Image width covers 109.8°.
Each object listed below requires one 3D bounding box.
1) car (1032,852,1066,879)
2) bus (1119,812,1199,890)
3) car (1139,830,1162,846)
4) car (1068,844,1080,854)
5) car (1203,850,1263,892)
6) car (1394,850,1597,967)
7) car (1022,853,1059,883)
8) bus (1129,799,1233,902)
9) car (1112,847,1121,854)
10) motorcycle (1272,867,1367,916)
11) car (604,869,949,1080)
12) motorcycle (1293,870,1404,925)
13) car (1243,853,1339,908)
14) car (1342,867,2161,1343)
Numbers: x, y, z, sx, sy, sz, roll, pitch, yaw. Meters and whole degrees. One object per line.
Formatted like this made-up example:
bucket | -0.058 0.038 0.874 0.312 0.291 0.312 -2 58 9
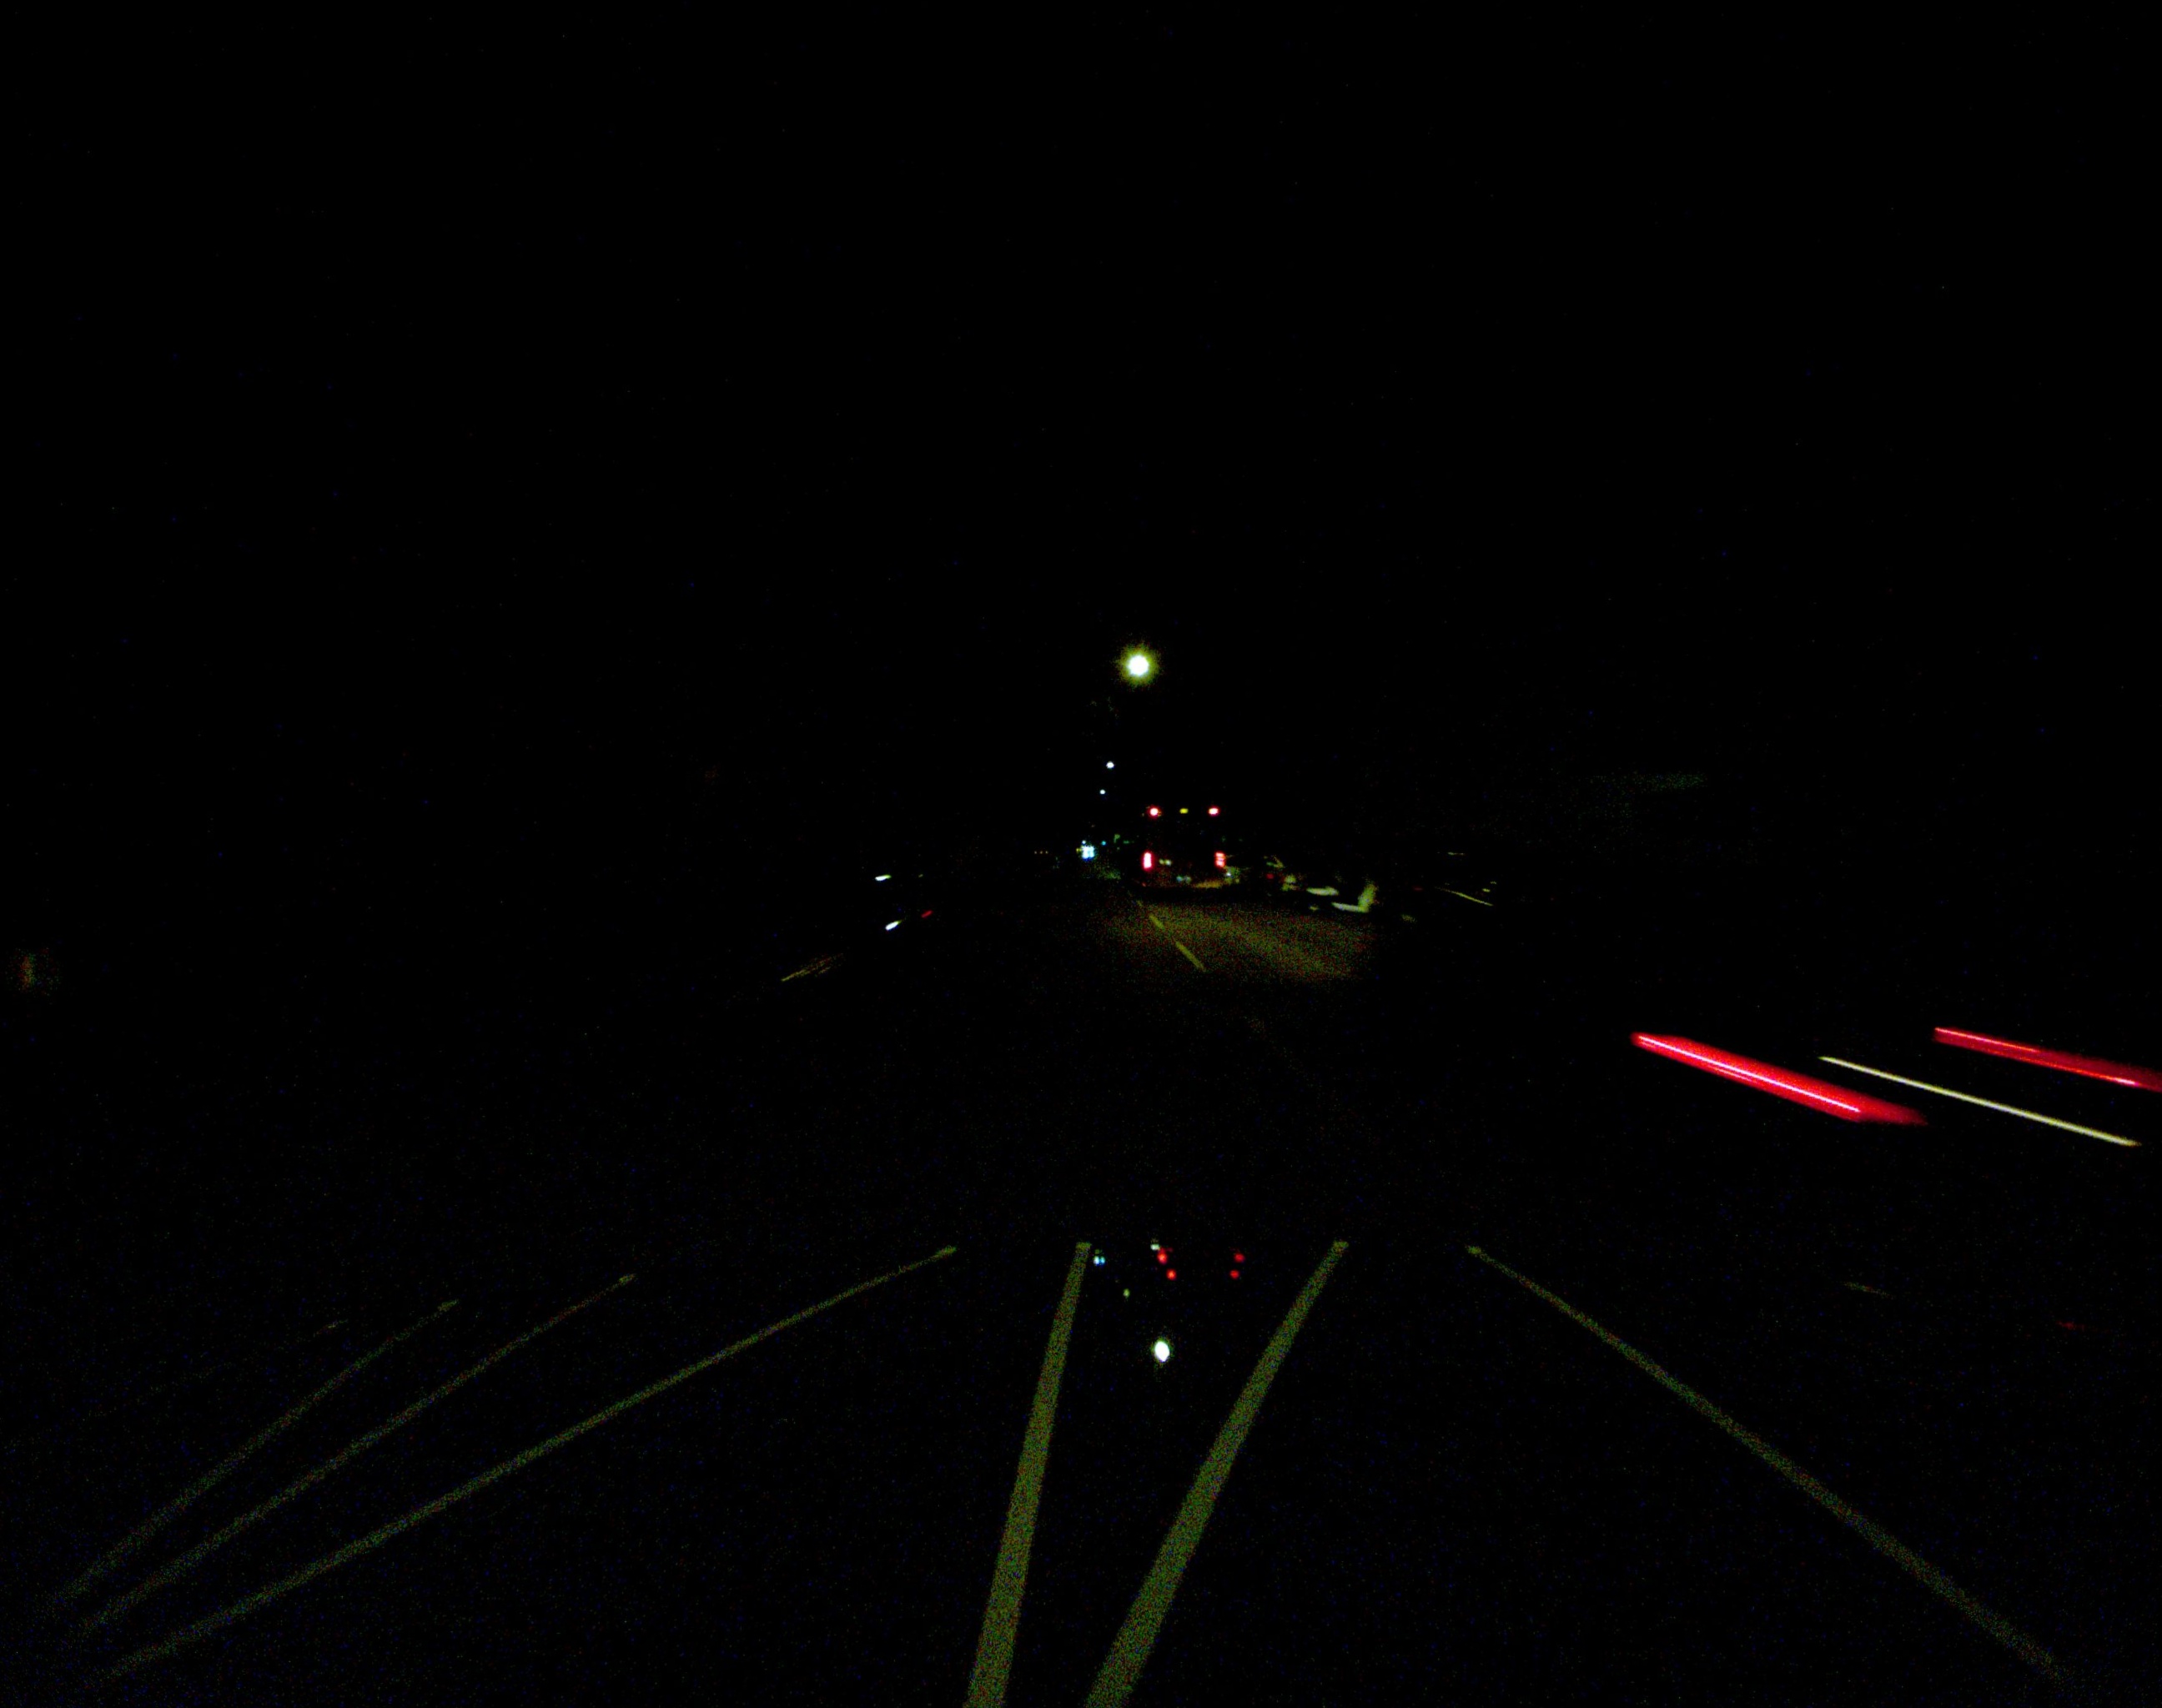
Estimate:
car | -1.905 0.644 46.517 1.850 1.409 4.644 2 1 0
bus | 3.522 -0.151 36.947 2.844 3.159 10.498 -2 0 1
car | 7.682 -1.709 84.400 1.853 1.641 4.670 -2 0 -3
car | -1.296 -0.882 133.902 1.916 1.816 4.899 -1 1 -2
car | 6.124 0.648 30.985 1.625 1.483 3.779 -2 1 0
car | 6.069 0.721 11.466 1.642 1.489 2.765 -1 1 2
car | -2.118 0.707 40.844 1.775 1.439 4.019 0 1 0
bus | 3.391 -0.119 27.848 2.844 3.159 7.660 -2 0 1
car | 7.877 -0.887 168.850 1.731 1.477 4.290 -2 1 0
motorcycle | 5.922 0.904 18.973 0.717 1.140 2.203 -1 0 -42
car | -2.614 0.929 7.659 1.767 1.467 4.080 1 0 1
motorcycle | 5.905 0.926 16.827 2.203 1.124 0.717 -1 0 34
car | 6.188 0.733 22.856 1.708 1.483 4.227 0 0 0
car | 2.997 0.826 4.339 1.650 1.414 3.870 -1 0 0
